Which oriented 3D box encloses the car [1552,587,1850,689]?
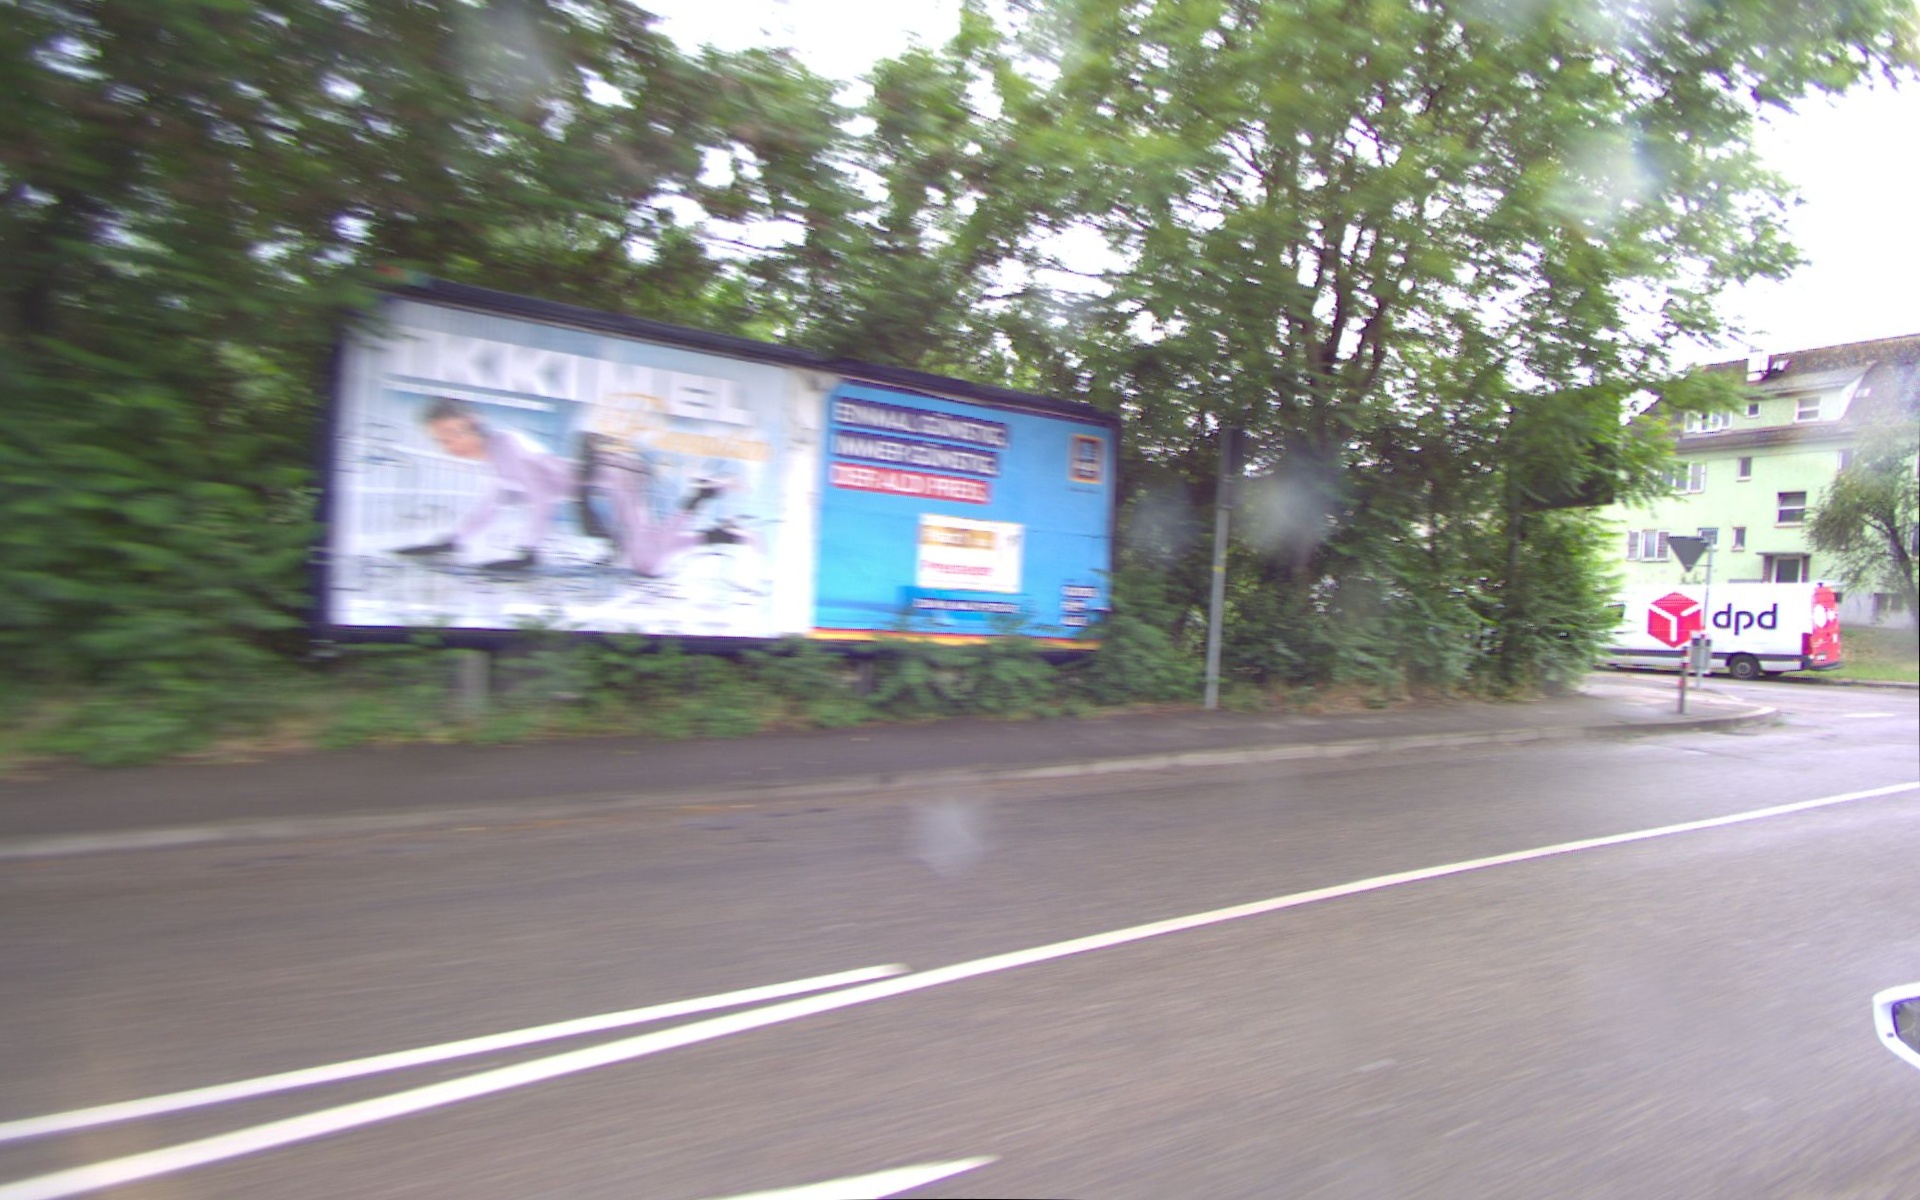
[{"bbox_3d":[21.643,0.988,29.813,2.236,2.691,6.769,2,0,-30],"label":"car"}]
